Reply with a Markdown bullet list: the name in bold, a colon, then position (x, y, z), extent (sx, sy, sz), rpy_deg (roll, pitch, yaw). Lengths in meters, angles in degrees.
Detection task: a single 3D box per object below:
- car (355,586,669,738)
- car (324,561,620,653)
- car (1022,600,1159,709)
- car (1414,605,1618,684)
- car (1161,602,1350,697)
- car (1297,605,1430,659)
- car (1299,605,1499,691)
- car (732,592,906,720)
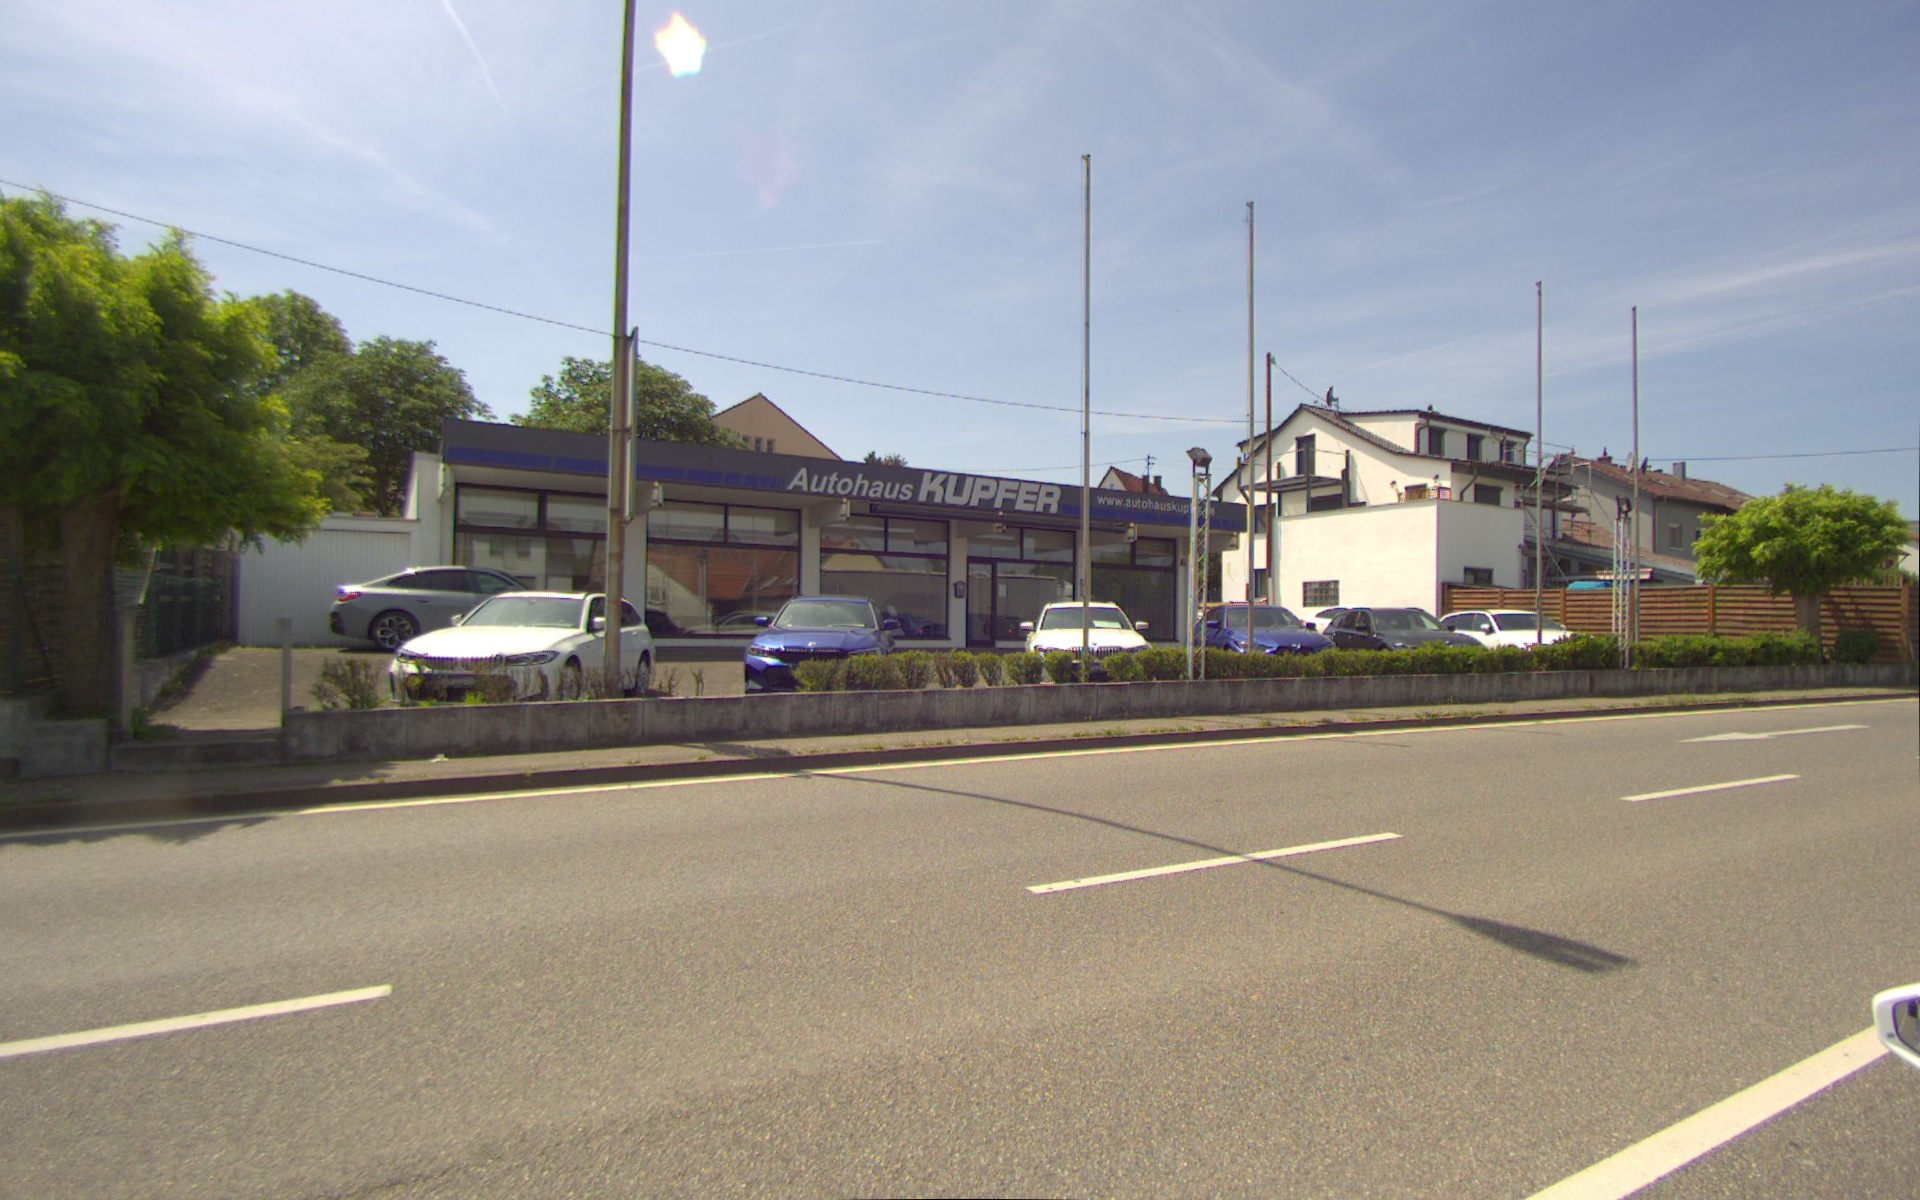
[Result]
- **car**: position (-5.194, 0.635, 12.460), extent (1.821, 1.467, 4.580), rpy_deg (2, 0, 0)
- **car**: position (-8.461, 0.140, 17.875), extent (4.512, 1.484, 1.801), rpy_deg (1, 0, -20)
- **car**: position (1.959, 0.762, 16.270), extent (1.820, 1.467, 4.517), rpy_deg (1, 0, 3)
- **car**: position (12.062, 0.899, 22.178), extent (1.822, 1.467, 4.339), rpy_deg (2, 0, -4)
- **car**: position (5.296, 0.824, 18.669), extent (1.822, 1.467, 4.338), rpy_deg (2, 0, -6)
- **car**: position (12.548, 0.951, 31.540), extent (1.805, 1.530, 3.986), rpy_deg (1, 0, -16)
- **car**: position (8.690, 0.877, 20.343), extent (1.862, 1.467, 4.339), rpy_deg (2, 0, -4)
- **car**: position (-1.799, 0.674, 14.190), extent (1.821, 1.467, 4.342), rpy_deg (2, 0, 0)
